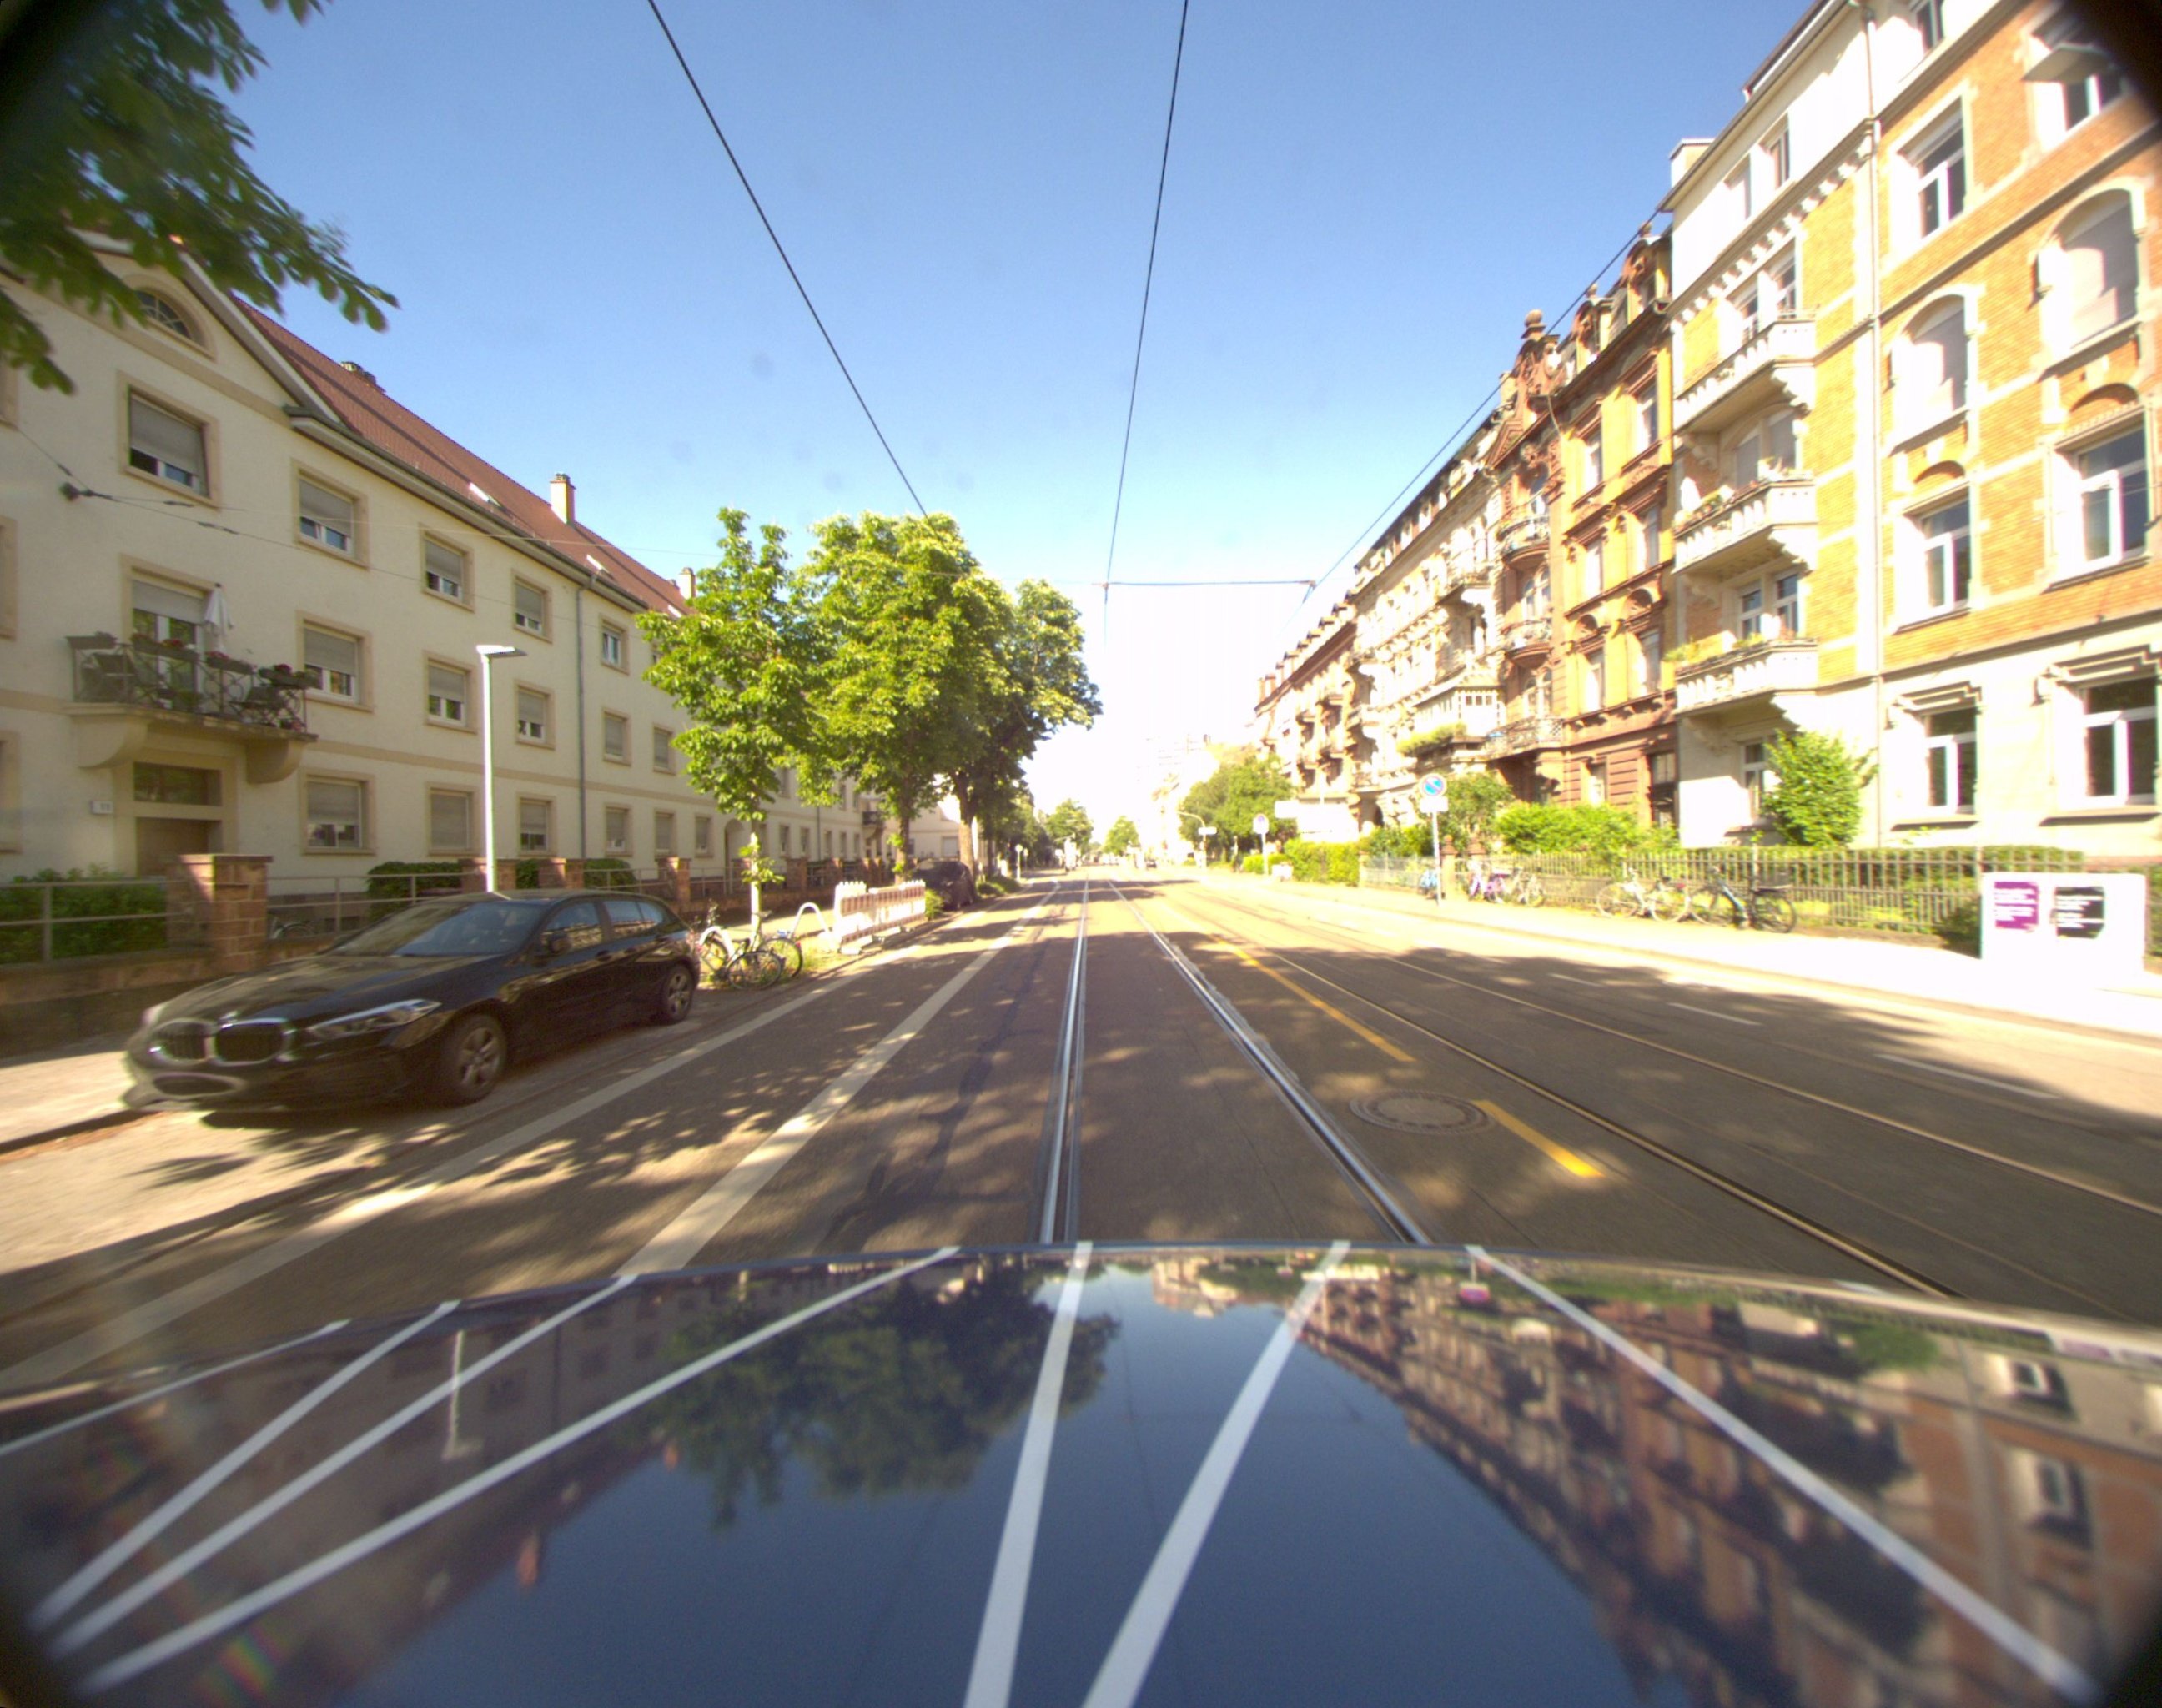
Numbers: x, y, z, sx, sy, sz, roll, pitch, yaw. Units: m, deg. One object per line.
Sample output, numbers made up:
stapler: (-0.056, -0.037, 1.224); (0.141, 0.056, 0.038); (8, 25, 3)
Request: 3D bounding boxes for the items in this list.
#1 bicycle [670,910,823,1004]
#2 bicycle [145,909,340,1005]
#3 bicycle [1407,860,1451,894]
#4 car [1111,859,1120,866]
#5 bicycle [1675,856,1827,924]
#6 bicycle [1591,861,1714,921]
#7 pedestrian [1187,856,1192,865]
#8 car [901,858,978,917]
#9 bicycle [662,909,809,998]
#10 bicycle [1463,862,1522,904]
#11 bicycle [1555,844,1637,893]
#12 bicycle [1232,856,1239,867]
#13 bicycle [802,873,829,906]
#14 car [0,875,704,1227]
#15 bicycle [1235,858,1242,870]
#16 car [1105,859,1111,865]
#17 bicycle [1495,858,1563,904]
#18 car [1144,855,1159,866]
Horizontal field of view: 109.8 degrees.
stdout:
bicycle: (-4.382, 1.342, 9.988); (1.766, 1.071, 0.433); (-4, 1, 2)
bicycle: (-11.469, 1.365, 10.501); (0.560, 1.047, 1.871); (-2, 0, 1)
bicycle: (11.122, 0.718, 24.311); (0.564, 1.027, 1.768); (-4, -1, 1)
car: (7.877, 1.886, 174.193); (1.902, 1.608, 4.264); (-1, 0, -1)
bicycle: (11.058, 0.606, 12.608); (0.566, 1.027, 1.763); (-3, -1, -36)
bicycle: (10.918, 0.696, 14.584); (0.565, 1.027, 1.764); (-7, 0, -24)
pedestrian: (16.714, 0.995, 116.981); (0.659, 1.274, 0.724); (-4, 1, 1)
car: (-4.814, 1.066, 26.477); (1.748, 1.755, 4.477); (-3, 0, 0)
bicycle: (-4.747, 1.358, 10.473); (1.766, 1.071, 0.433); (-4, 1, 2)
bicycle: (10.988, 0.740, 20.348); (0.564, 1.027, 1.767); (-4, 0, 0)
bicycle: (14.098, 0.393, 20.819); (1.766, 1.148, 0.565); (-6, 0, 0)
bicycle: (13.303, 0.638, 65.320); (0.342, 0.920, 1.943); (-3, 0, 5)
bicycle: (-10.339, 1.369, 29.673); (0.448, 1.231, 1.675); (-1, 0, -1)
car: (-5.039, 1.138, 6.282); (1.670, 1.750, 4.231); (-2, 0, 0)
bicycle: (12.642, 0.786, 61.053); (0.342, 0.920, 1.943); (-3, 0, 5)
car: (7.588, 2.111, 213.465); (1.694, 1.531, 3.799); (-4, 0, 4)
bicycle: (10.859, 0.626, 18.478); (0.564, 1.027, 1.767); (-4, 0, 0)
car: (10.876, 1.047, 117.929); (1.836, 1.509, 4.967); (-4, 0, 1)
